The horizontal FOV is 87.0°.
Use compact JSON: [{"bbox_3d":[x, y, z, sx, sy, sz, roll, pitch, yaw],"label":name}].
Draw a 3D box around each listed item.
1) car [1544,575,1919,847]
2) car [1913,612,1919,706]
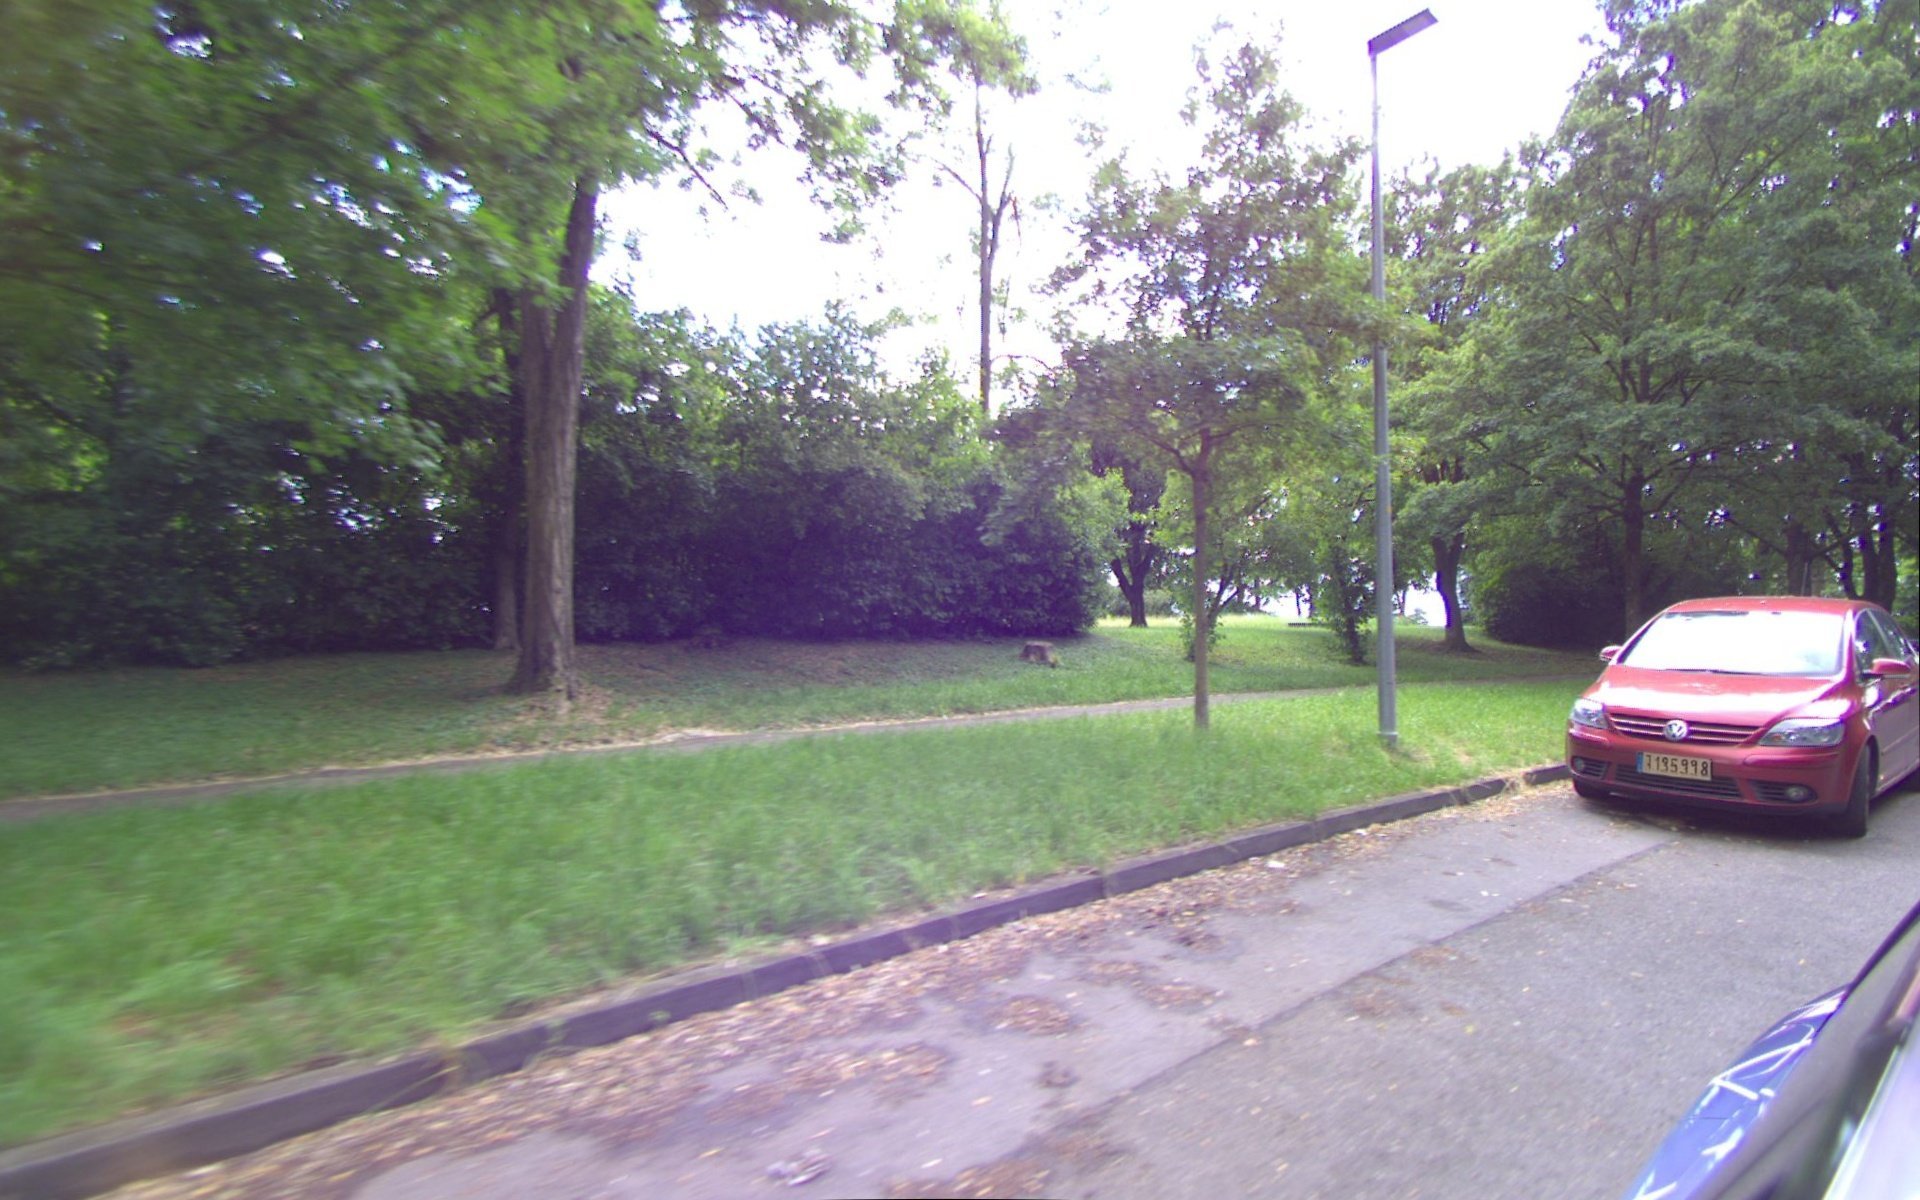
[{"bbox_3d":[6.496,0.615,7.977,4.592,1.571,1.715,-1,0,-38],"label":"car"},{"bbox_3d":[15.460,0.786,14.438,4.587,1.272,1.717,-1,0,-33],"label":"car"}]
